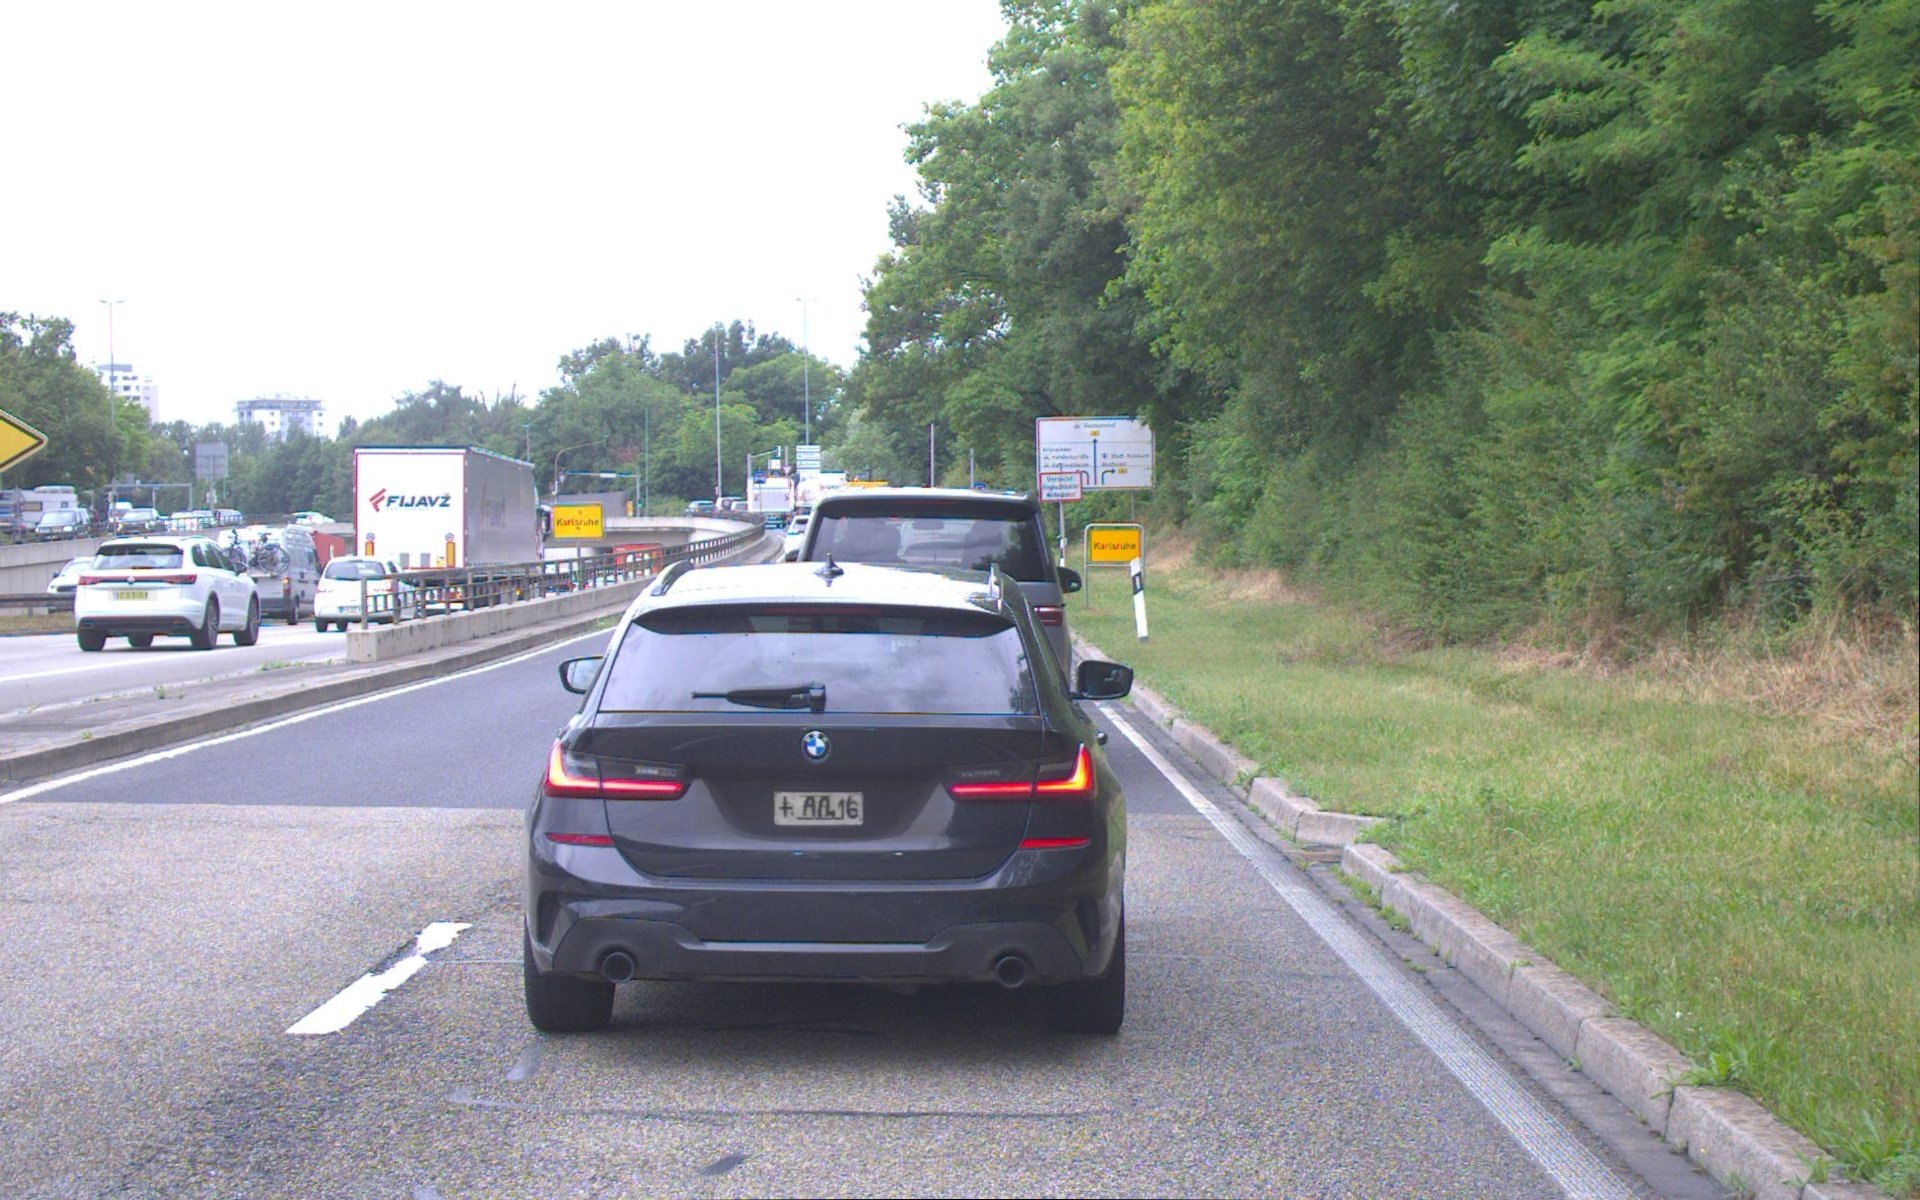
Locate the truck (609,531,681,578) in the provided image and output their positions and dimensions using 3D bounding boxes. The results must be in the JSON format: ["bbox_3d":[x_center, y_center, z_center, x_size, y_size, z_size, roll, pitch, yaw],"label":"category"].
[{"bbox_3d":[-17.102,-2.499,187.178,3.274,2.500,7.661,0,1,-1],"label":"truck"}]

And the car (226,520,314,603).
[{"bbox_3d":[-17.388,-0.985,86.785,1.443,2.037,3.680,0,1,1],"label":"car"}]

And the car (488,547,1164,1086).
[{"bbox_3d":[-0.431,0.564,11.411,1.846,1.461,4.000,0,1,-2],"label":"car"}]

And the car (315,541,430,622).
[{"bbox_3d":[-11.616,-0.393,68.150,1.768,1.544,3.493,0,1,-1],"label":"car"}]

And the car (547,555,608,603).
[{"bbox_3d":[-12.738,-0.711,114.630,1.701,1.523,3.470,0,1,-1],"label":"car"}]

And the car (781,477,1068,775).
[{"bbox_3d":[-0.228,0.129,23.652,1.796,1.865,4.000,0,1,0],"label":"car"}]

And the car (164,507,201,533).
[{"bbox_3d":[-42.505,-4.367,188.035,1.437,1.441,3.244,0,1,-3],"label":"car"}]

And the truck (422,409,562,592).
[{"bbox_3d":[-12.397,-2.610,91.362,3.084,4.681,4.232,1,1,0],"label":"truck"}]

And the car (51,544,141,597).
[{"bbox_3d":[-24.257,-0.843,96.612,1.677,1.473,3.709,0,1,-2],"label":"car"}]

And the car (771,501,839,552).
[{"bbox_3d":[-4.919,-2.348,109.757,1.931,1.590,3.877,0,1,1],"label":"car"}]

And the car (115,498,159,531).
[{"bbox_3d":[-40.724,-4.228,170.161,1.437,1.580,3.244,0,1,-1],"label":"car"}]

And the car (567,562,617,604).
[{"bbox_3d":[-13.340,-0.635,124.625,1.448,1.485,3.062,0,1,1],"label":"car"}]

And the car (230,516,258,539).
[{"bbox_3d":[-46.652,-4.742,223.937,1.434,1.492,3.164,0,1,-5],"label":"car"}]

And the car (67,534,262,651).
[{"bbox_3d":[-11.988,-0.156,52.098,1.946,1.686,4.507,0,1,-1],"label":"car"}]

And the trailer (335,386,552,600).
[{"bbox_3d":[-12.346,-2.496,83.743,3.132,4.709,14.559,1,1,0],"label":"trailer"}]
